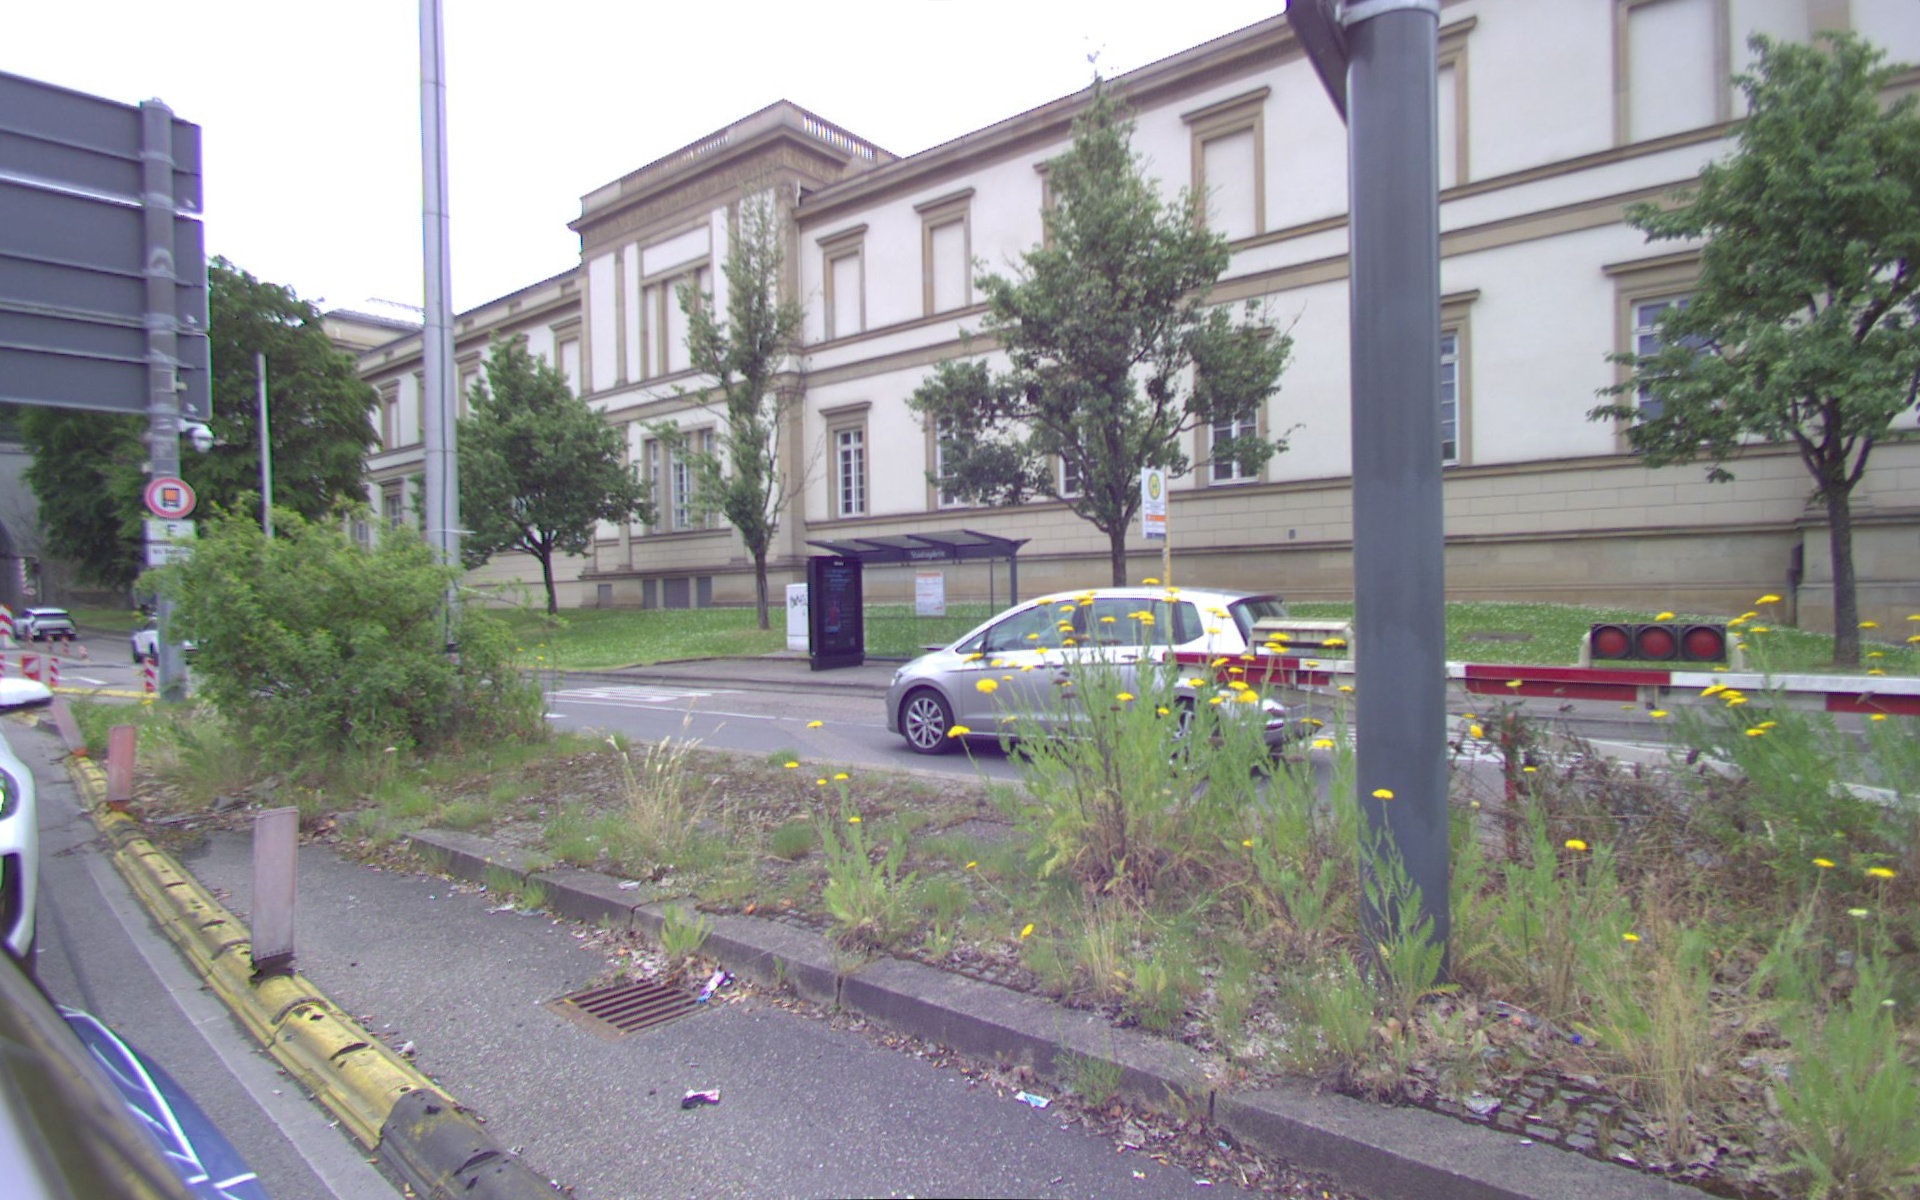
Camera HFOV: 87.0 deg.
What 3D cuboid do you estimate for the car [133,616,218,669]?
[{"bbox_3d":[-26.463,1.393,34.100,1.876,1.637,4.111,-1,-1,-43],"label":"car"}]

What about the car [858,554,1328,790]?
[{"bbox_3d":[1.135,0.548,9.471,3.993,1.759,1.815,-1,0,37],"label":"car"}]

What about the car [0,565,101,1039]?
[{"bbox_3d":[-5.180,0.722,4.116,3.667,1.637,1.963,-1,0,40],"label":"car"}]

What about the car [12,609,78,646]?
[{"bbox_3d":[-44.909,1.338,49.643,4.265,1.704,1.851,-1,0,40],"label":"car"}]
